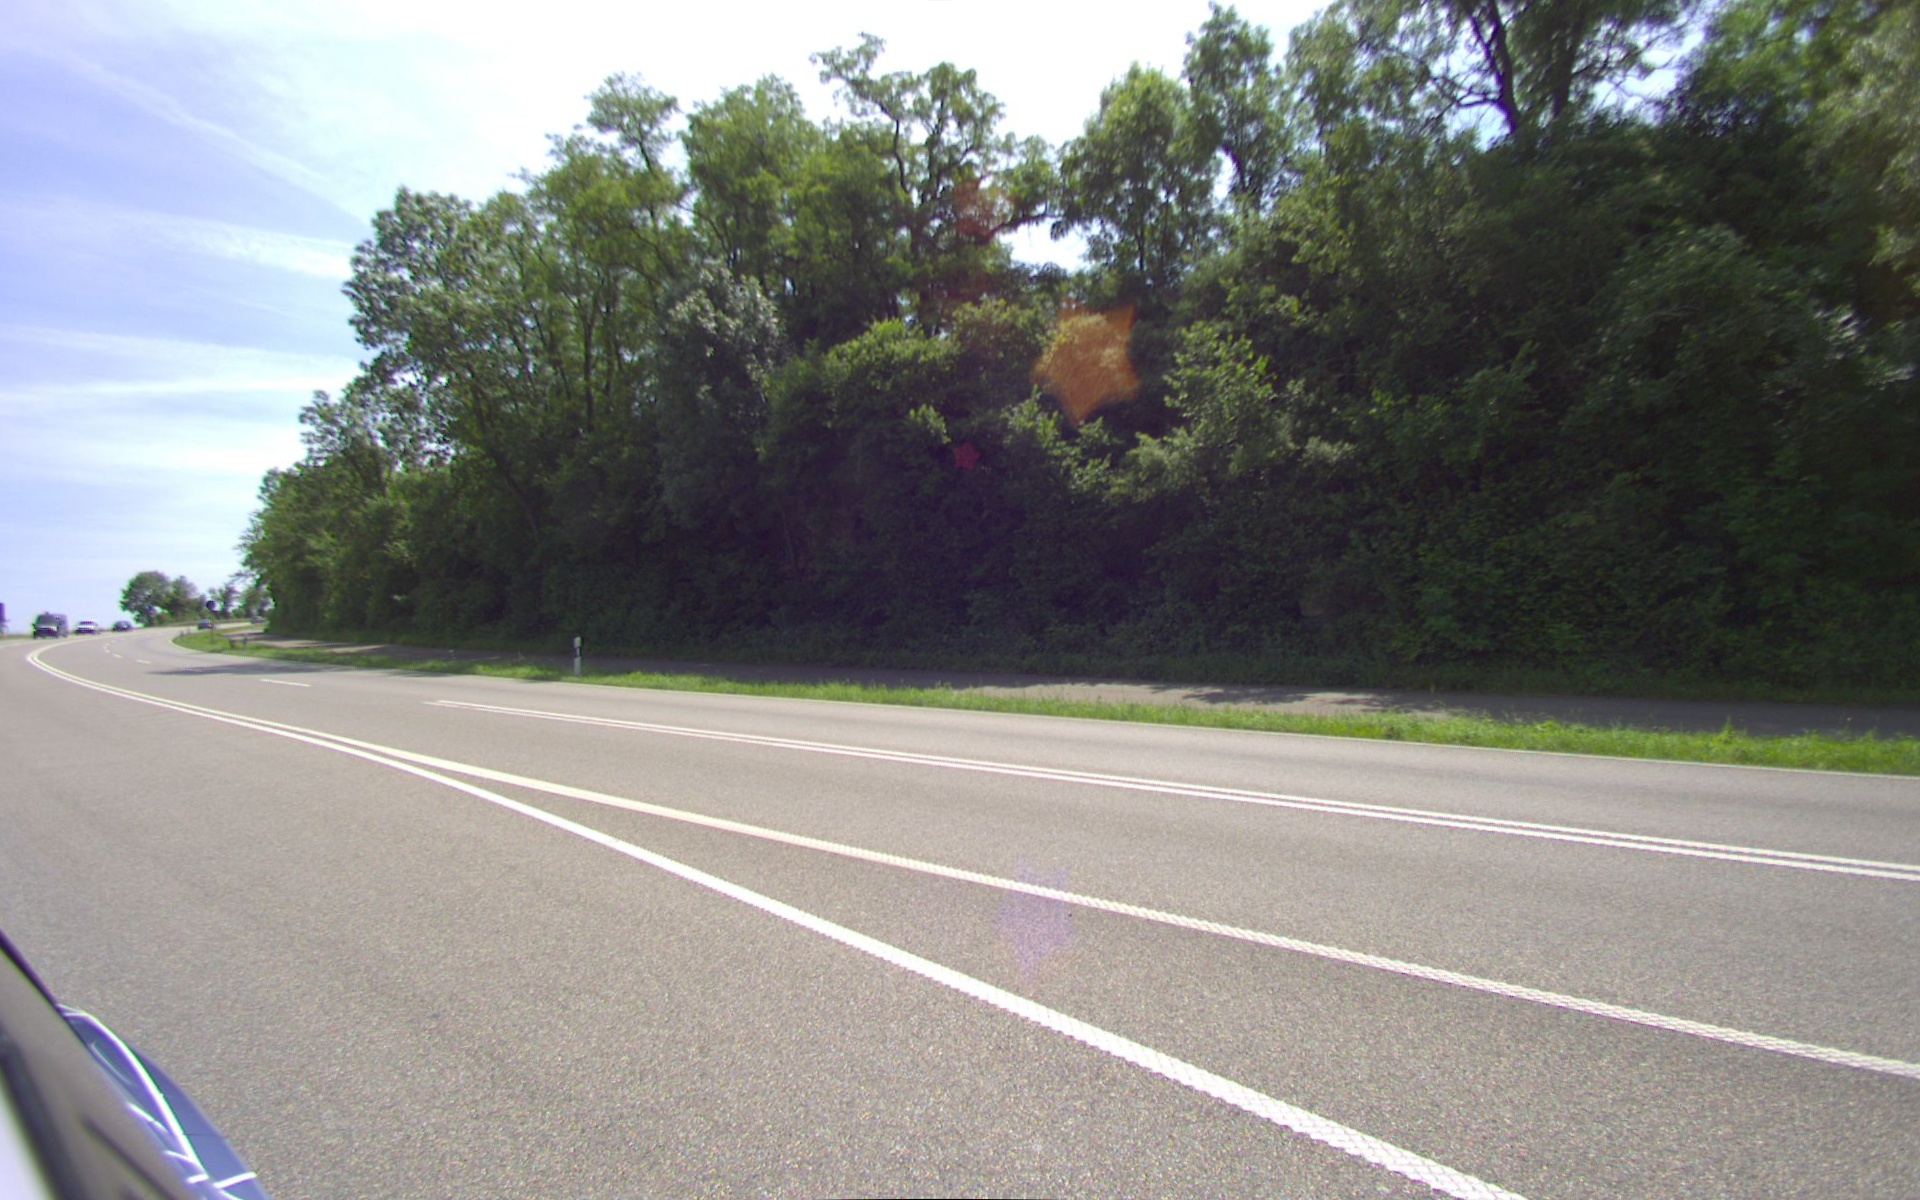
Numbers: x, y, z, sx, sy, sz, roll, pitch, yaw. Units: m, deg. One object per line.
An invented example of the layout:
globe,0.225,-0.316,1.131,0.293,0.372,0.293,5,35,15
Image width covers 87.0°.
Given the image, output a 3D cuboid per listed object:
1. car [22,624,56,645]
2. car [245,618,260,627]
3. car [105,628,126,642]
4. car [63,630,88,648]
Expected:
car,-94.912,3.556,104.320,1.966,2.029,4.011,-1,-1,-33
car,-136.525,4.351,195.303,1.928,1.741,3.923,-1,-1,-28
car,-117.520,4.857,140.850,1.738,1.874,3.820,0,0,-33
car,-107.973,4.720,123.554,1.822,2.029,3.882,0,0,-33
